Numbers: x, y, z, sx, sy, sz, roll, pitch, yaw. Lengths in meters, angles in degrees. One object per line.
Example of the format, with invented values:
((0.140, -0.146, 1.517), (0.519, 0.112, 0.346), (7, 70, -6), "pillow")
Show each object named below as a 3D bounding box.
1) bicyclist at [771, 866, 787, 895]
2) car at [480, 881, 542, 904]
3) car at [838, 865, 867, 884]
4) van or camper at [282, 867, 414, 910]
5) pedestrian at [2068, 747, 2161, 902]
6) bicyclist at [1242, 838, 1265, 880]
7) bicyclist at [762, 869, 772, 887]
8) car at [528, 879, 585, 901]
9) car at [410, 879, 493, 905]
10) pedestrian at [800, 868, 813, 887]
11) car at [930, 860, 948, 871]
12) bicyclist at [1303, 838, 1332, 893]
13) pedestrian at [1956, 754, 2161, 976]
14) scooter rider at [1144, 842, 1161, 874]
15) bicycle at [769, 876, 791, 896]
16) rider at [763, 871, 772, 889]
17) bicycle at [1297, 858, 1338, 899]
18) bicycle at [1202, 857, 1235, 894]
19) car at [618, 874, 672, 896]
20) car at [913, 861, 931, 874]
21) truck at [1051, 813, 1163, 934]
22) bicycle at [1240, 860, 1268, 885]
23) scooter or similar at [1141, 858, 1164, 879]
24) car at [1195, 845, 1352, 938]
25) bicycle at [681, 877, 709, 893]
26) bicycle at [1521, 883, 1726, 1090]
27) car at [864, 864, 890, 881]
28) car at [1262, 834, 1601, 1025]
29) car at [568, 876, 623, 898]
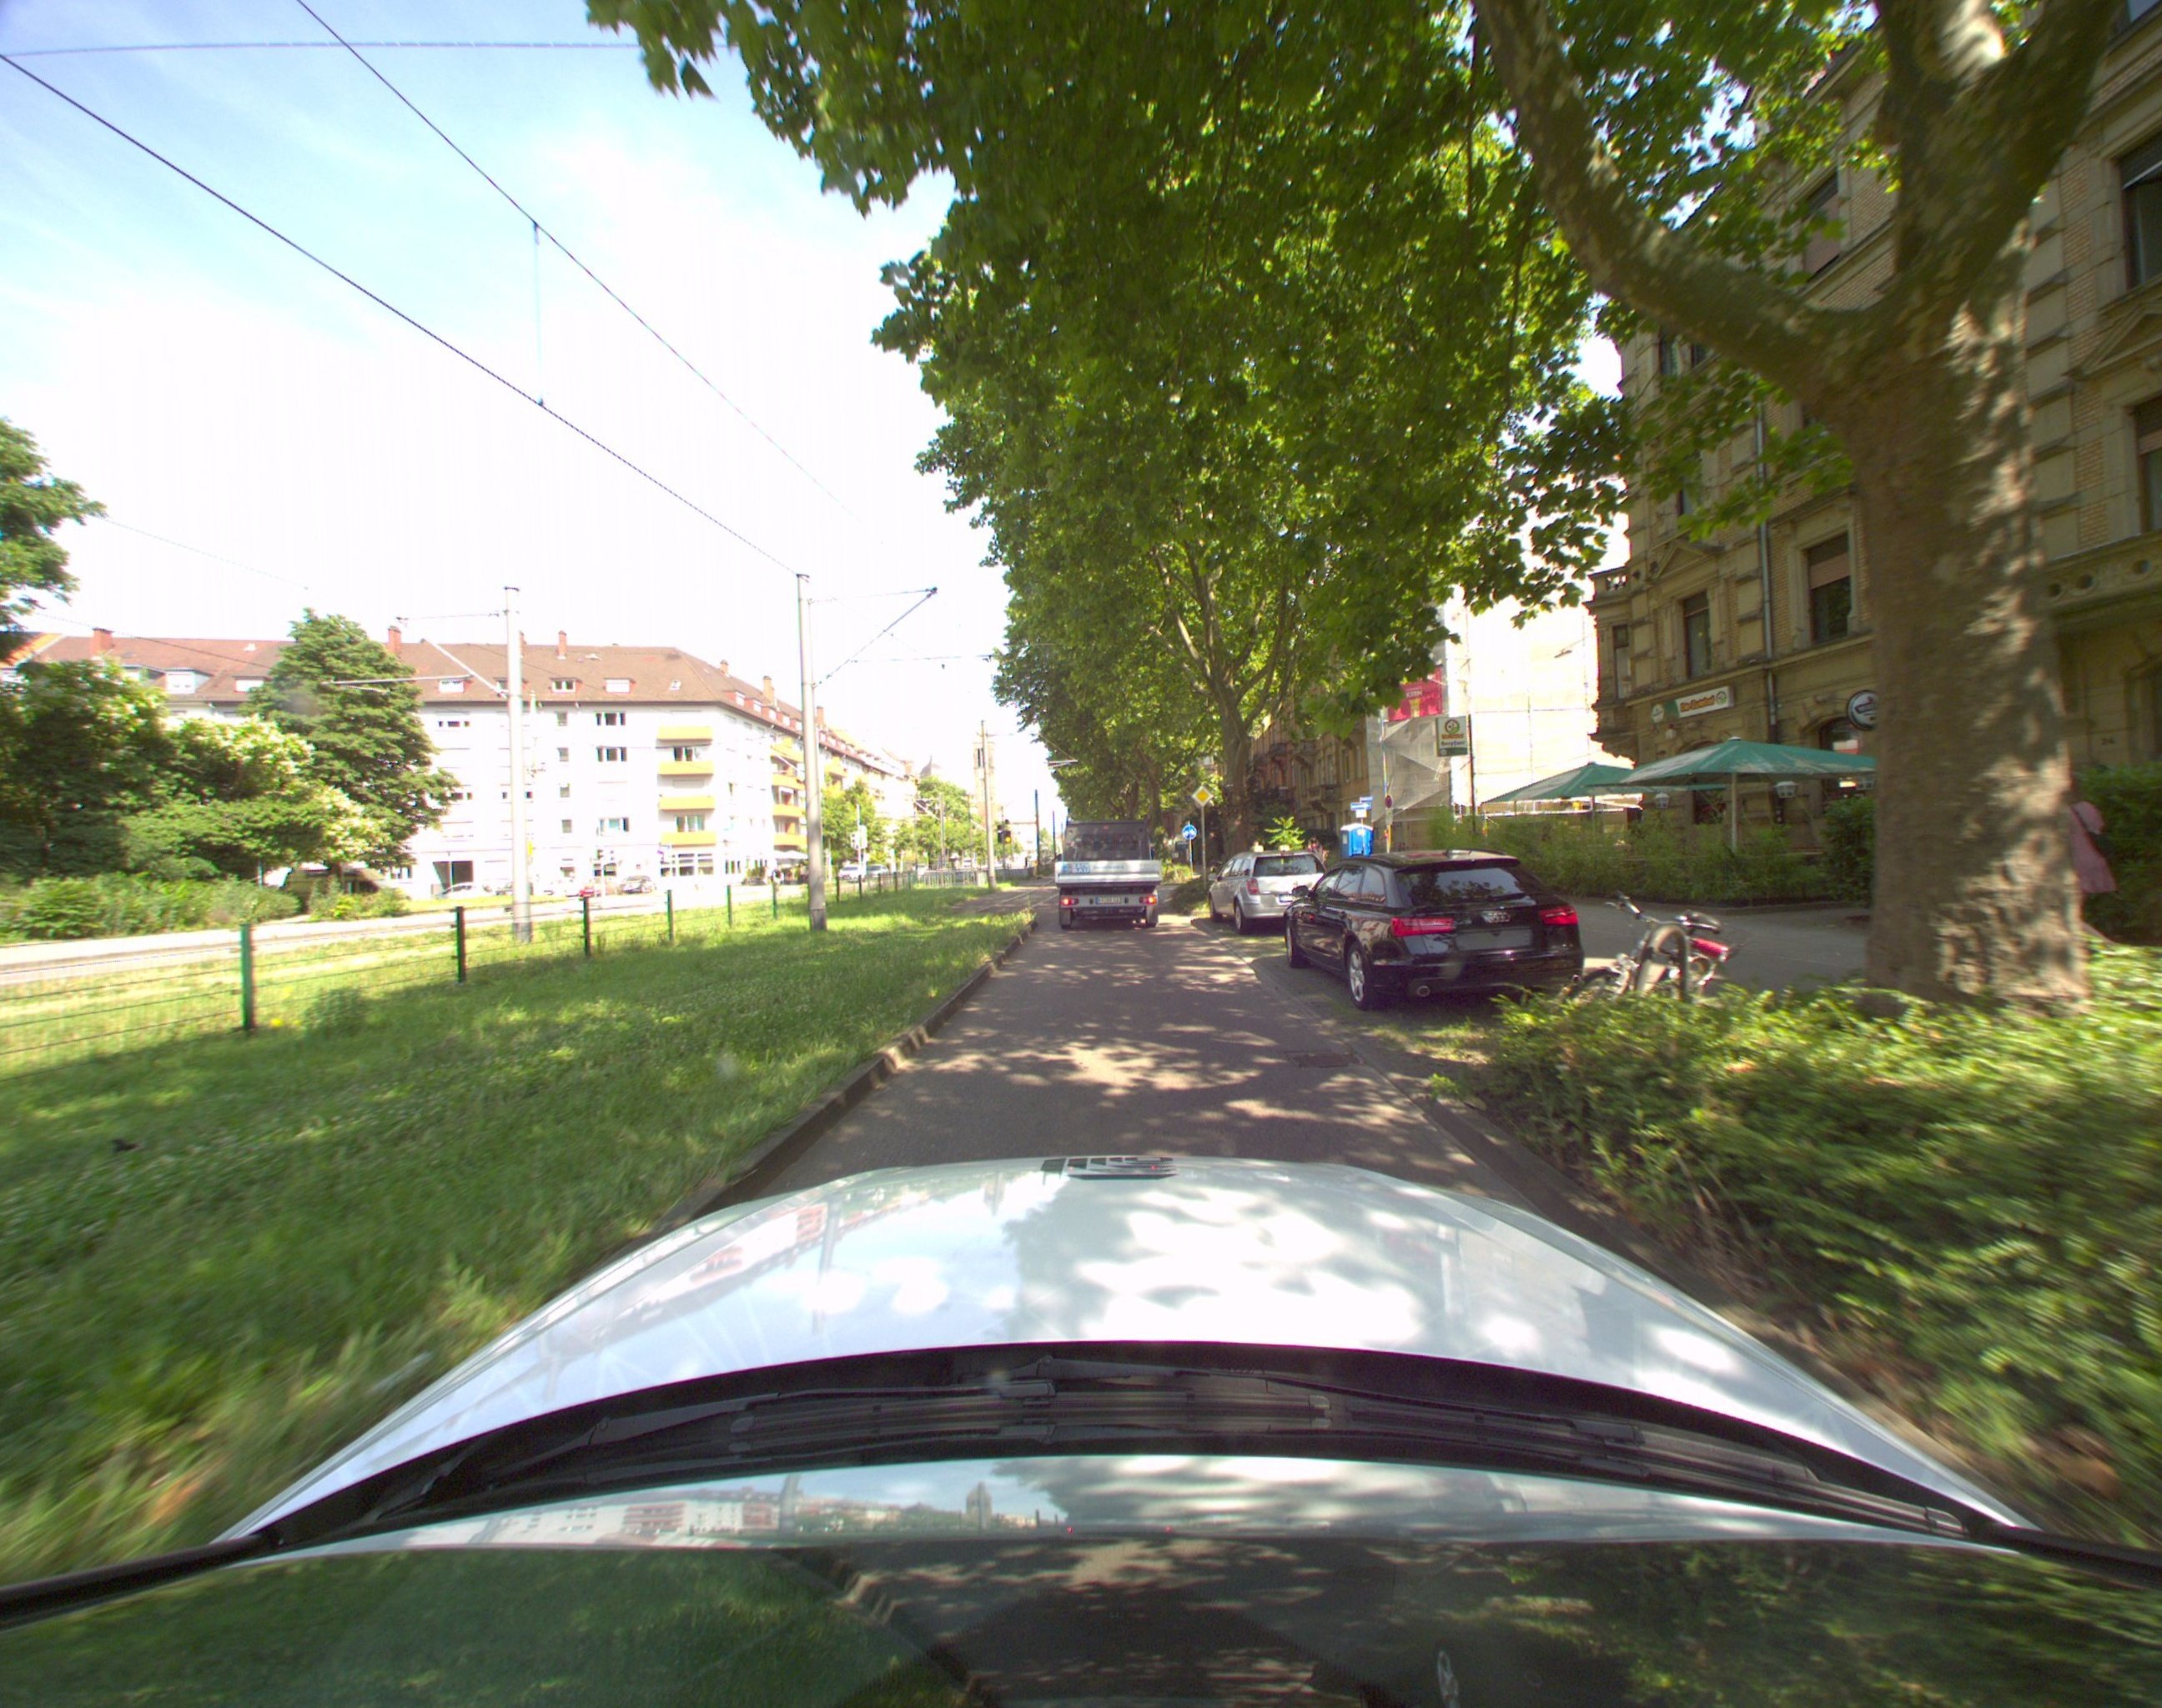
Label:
((-17.616, 1.560, 47.556), (0.621, 1.623, 0.694), (-3, 0, -1), "bicyclist")
((-41.591, 2.763, 59.530), (1.930, 1.406, 4.156), (-3, 0, -7), "car")
((-20.549, 1.812, 73.359), (1.768, 1.498, 3.993), (-4, 0, -5), "car")
((-46.118, 2.158, 51.390), (5.763, 2.329, 2.235), (-3, 0, -13), "van or camper")
((13.261, -0.378, 10.208), (0.850, 1.851, 0.735), (-4, 0, -11), "pedestrian")
((6.634, 0.171, 31.307), (0.678, 1.563, 0.777), (-3, 0, 1), "bicyclist")
((-25.317, 1.905, 65.593), (0.624, 1.423, 0.587), (-2, 0, -16), "bicyclist")
((-39.062, 2.673, 60.787), (1.930, 1.406, 4.156), (-3, 0, -7), "car")
((-40.549, 2.430, 52.566), (3.749, 1.406, 1.823), (-3, 0, -17), "car")
((-23.168, 1.976, 68.730), (0.861, 1.572, 0.685), (-2, 0, -24), "pedestrian")
((-20.384, 1.679, 116.946), (1.765, 1.498, 3.998), (-3, 0, -1), "car")
((6.946, 0.335, 23.948), (0.635, 1.573, 0.580), (-3, 0, 1), "bicyclist")
((8.608, 0.092, 7.180), (0.734, 1.785, 0.852), (-4, 0, 0), "pedestrian")
((4.328, 0.230, 49.314), (0.672, 1.867, 0.657), (-3, 0, -37), "scooter rider")
((-17.607, 1.864, 47.639), (0.529, 1.049, 1.925), (-4, -1, 0), "bicycle")
((-25.478, 2.118, 66.180), (0.624, 1.423, 0.587), (-2, 0, -16), "rider")
((6.970, 0.705, 24.071), (0.563, 1.112, 2.311), (-3, 0, 2), "bicycle")
((4.329, 0.660, 25.501), (0.417, 1.105, 1.627), (-3, 0, 31), "bicycle")
((-32.937, 2.317, 61.659), (1.830, 1.376, 4.635), (-3, 0, -5), "car")
((-20.253, 1.656, 103.581), (1.768, 1.498, 3.993), (-3, 0, -5), "car")
((0.564, 0.385, 17.972), (2.130, 2.319, 4.403), (-1, 0, 1), "truck")
((6.660, 0.681, 31.397), (0.672, 0.881, 2.164), (-3, 0, 2), "bicycle")
((4.329, 0.873, 49.307), (1.277, 1.204, 0.650), (-2, 0, -39), "scooter or similar")
((3.652, 0.649, 16.352), (1.829, 1.508, 4.487), (-3, 0, -3), "car")
((-29.898, 2.389, 63.187), (0.908, 1.137, 2.806), (-3, 0, -3), "bicycle")
((3.574, 0.783, 5.316), (1.644, 1.088, 0.467), (-3, 0, -33), "bicycle")
((-20.511, 1.822, 81.939), (1.768, 1.498, 3.993), (-4, 0, -5), "car")
((3.459, 0.633, 9.153), (1.827, 1.508, 4.644), (-3, 0, 1), "car")
((-36.282, 2.467, 61.015), (1.930, 1.406, 4.156), (-3, 0, -7), "car")
